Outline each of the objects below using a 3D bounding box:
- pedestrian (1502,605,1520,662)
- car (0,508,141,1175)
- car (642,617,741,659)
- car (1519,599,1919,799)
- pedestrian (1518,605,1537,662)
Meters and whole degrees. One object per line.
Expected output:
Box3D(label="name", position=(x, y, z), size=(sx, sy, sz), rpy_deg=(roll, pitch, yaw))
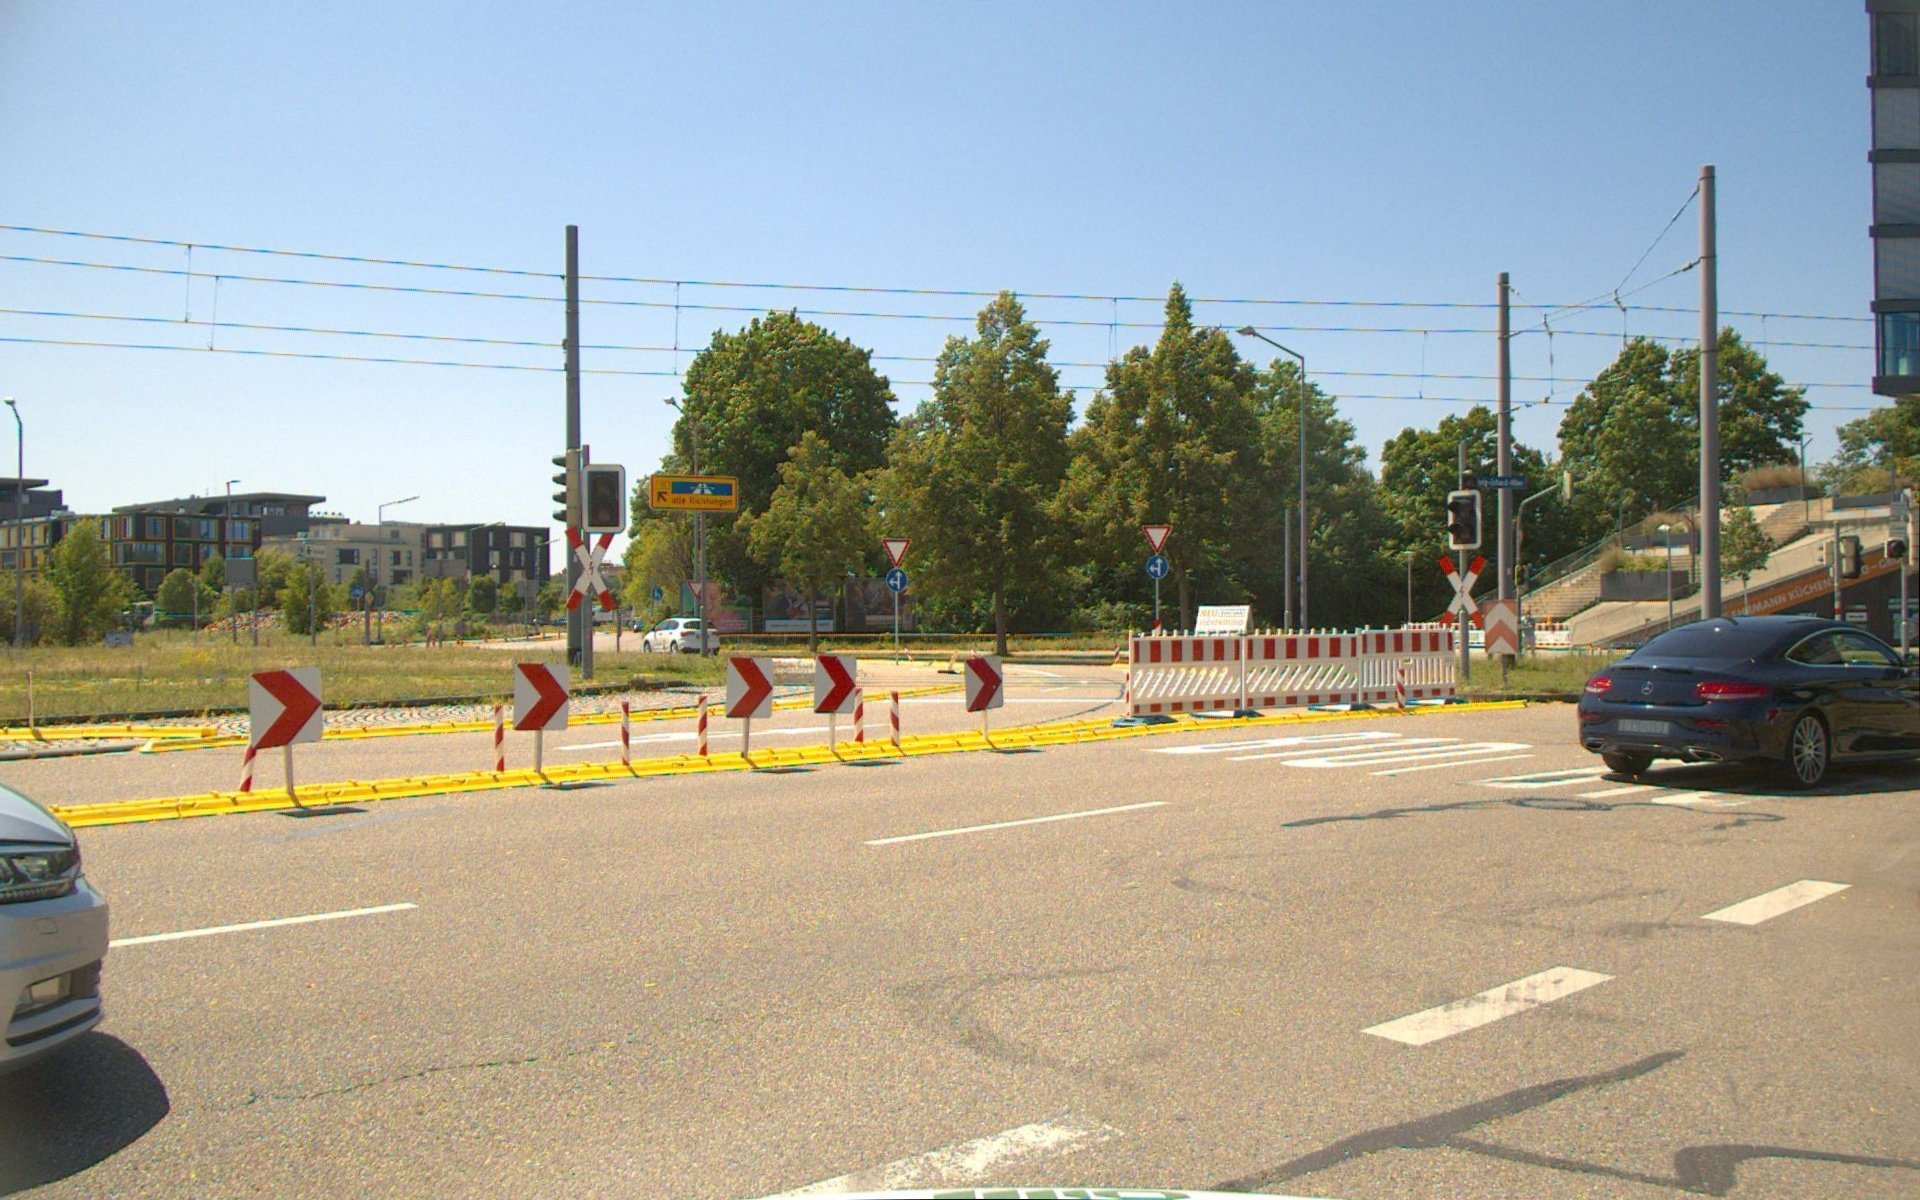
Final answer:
Box3D(label="pedestrian", position=(17.095, 1.035, 51.324), size=(0.439, 1.769, 0.291), rpy_deg=(0, -1, -5))
Box3D(label="car", position=(-4.515, 0.628, 3.794), size=(4.550, 1.678, 1.785), rpy_deg=(0, -1, -35))
Box3D(label="car", position=(-10.365, 1.440, 63.642), size=(1.979, 1.512, 4.308), rpy_deg=(0, -1, -37))
Box3D(label="car", position=(7.169, 0.770, 14.575), size=(4.902, 1.461, 1.834), rpy_deg=(1, 0, -37))
Box3D(label="pedestrian", position=(17.623, 1.048, 51.380), size=(0.439, 1.769, 0.318), rpy_deg=(0, -1, -5))
